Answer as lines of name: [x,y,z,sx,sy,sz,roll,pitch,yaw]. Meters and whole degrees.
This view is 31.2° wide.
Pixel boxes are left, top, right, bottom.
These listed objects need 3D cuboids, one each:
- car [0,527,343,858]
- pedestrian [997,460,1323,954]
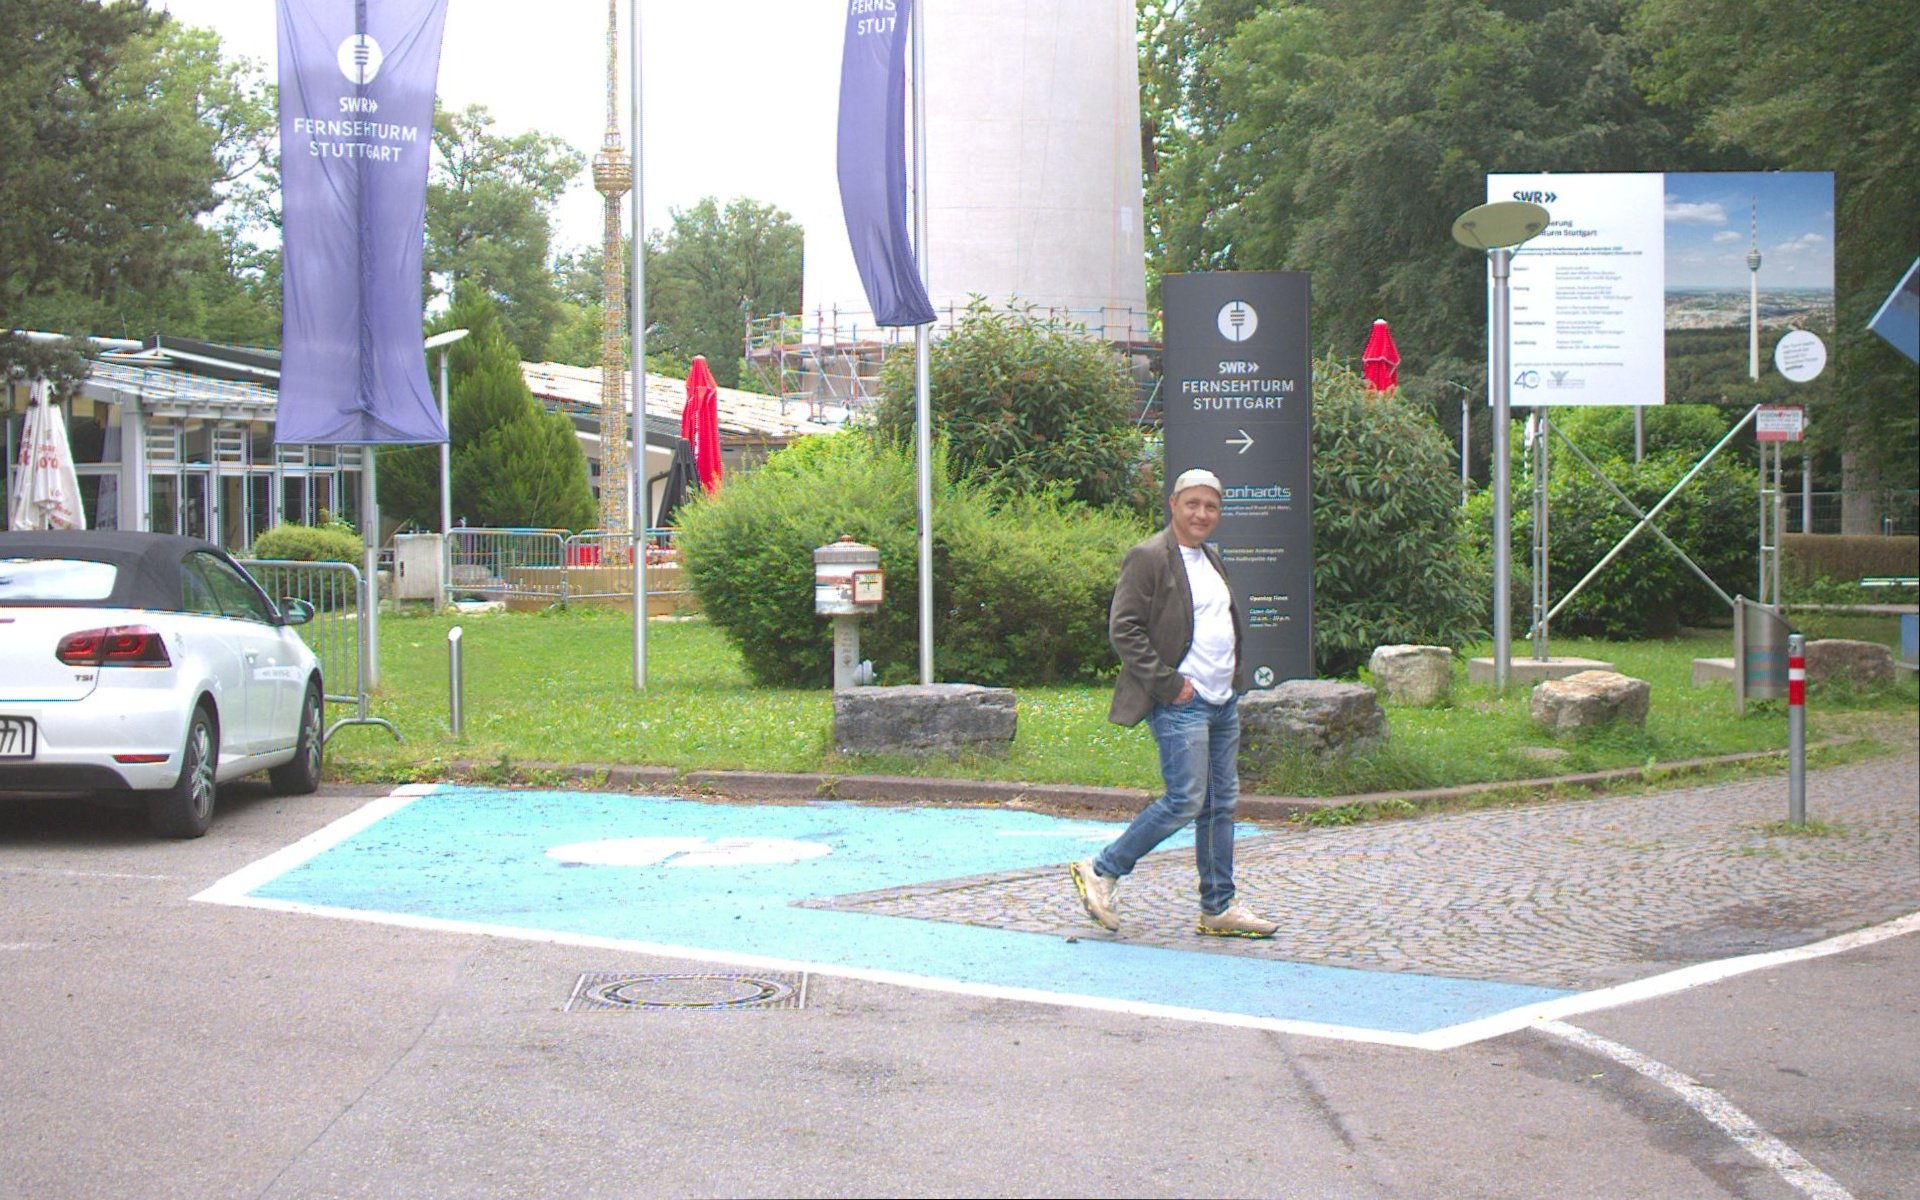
car: [-4.411,0.365,17.098,1.893,1.423,4.000,0,1,1]
pedestrian: [0.727,0.358,12.521,0.896,1.719,0.762,1,2,40]
